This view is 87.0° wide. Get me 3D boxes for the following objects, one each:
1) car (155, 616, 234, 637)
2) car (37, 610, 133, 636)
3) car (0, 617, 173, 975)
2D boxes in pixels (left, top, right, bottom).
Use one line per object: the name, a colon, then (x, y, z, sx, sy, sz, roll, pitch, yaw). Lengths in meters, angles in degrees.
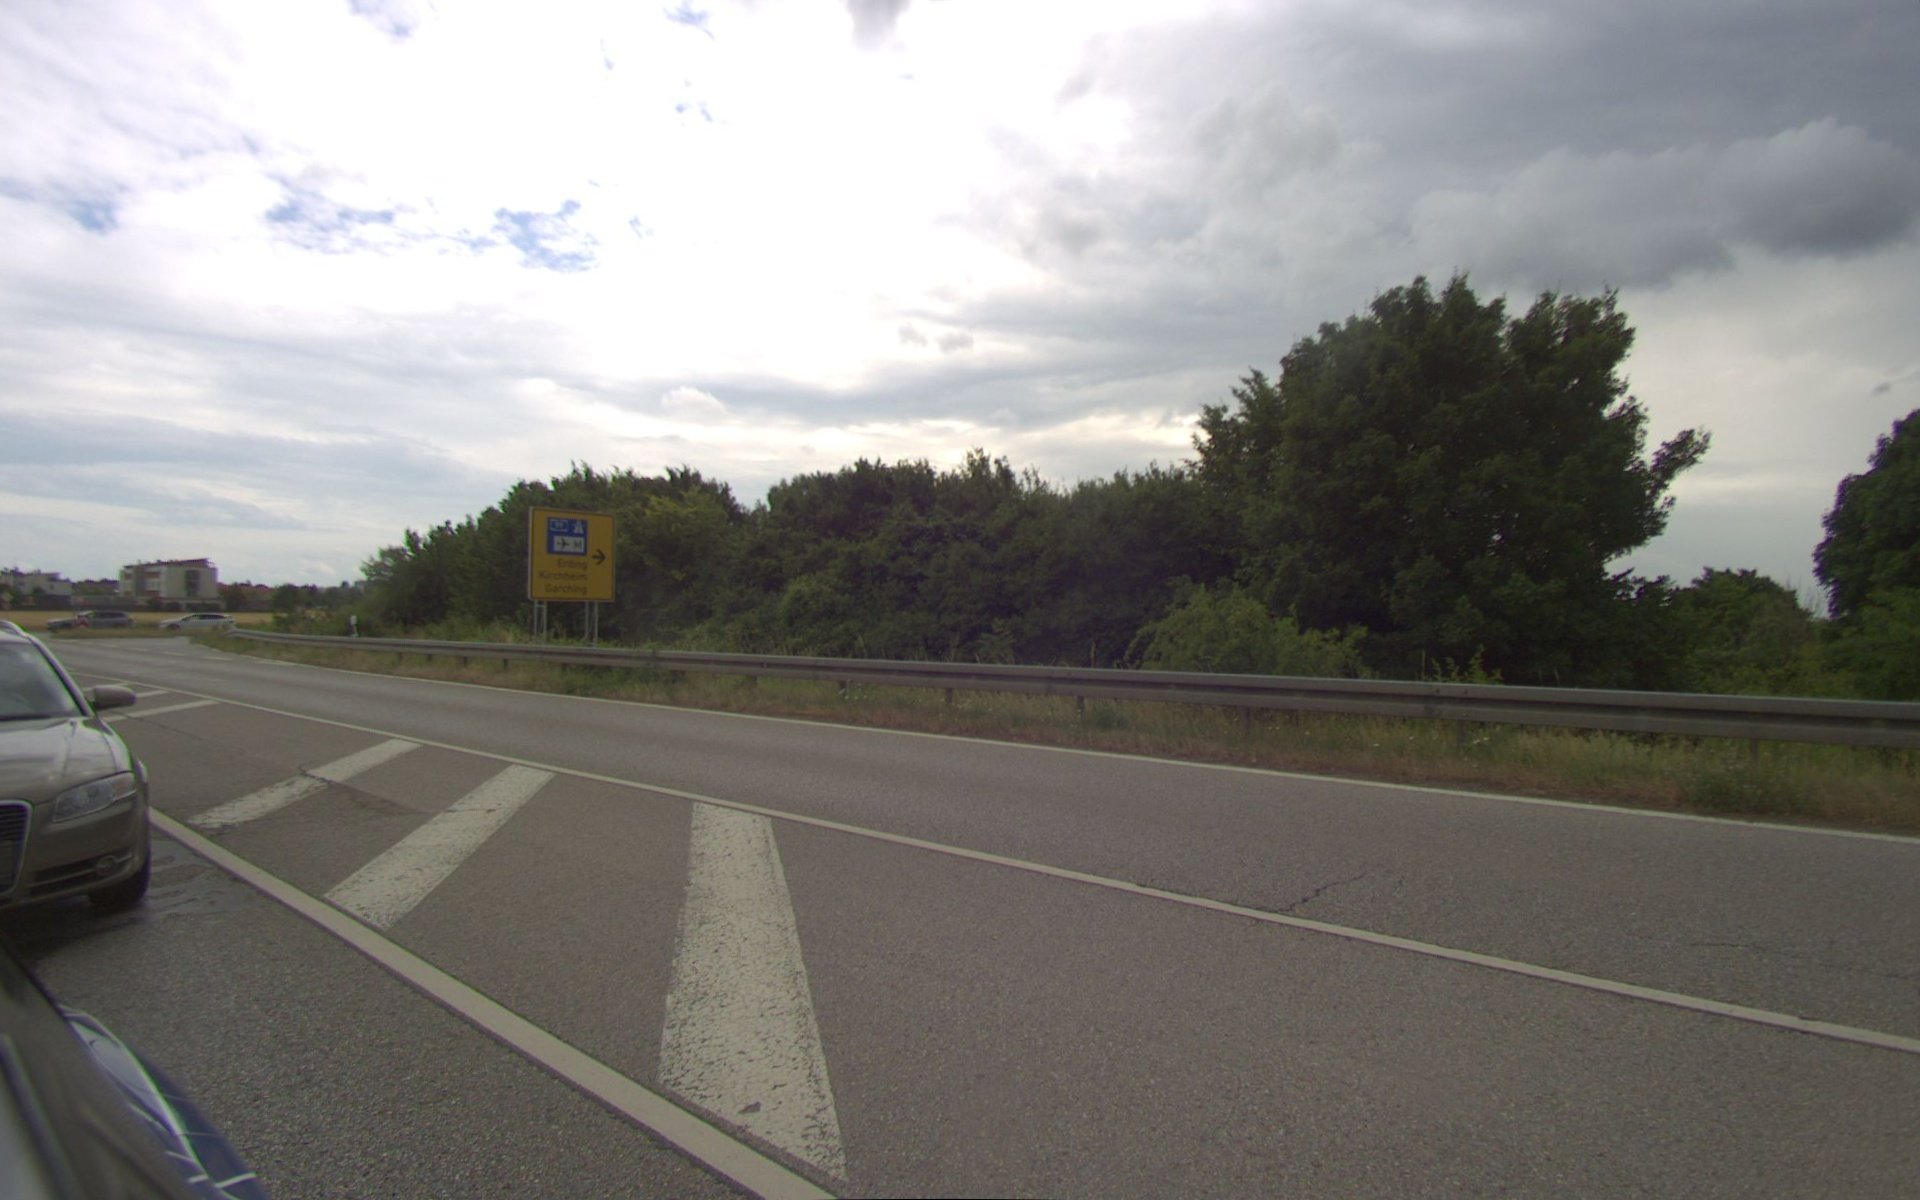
car: (-56.455, 1.928, 74.668, 4.605, 1.510, 2.004, 0, -1, -39)
car: (-60.513, 1.574, 70.065, 1.997, 1.702, 4.757, -1, -1, 37)
car: (-5.687, 0.824, 5.298, 4.202, 1.455, 1.708, -1, -1, 41)
